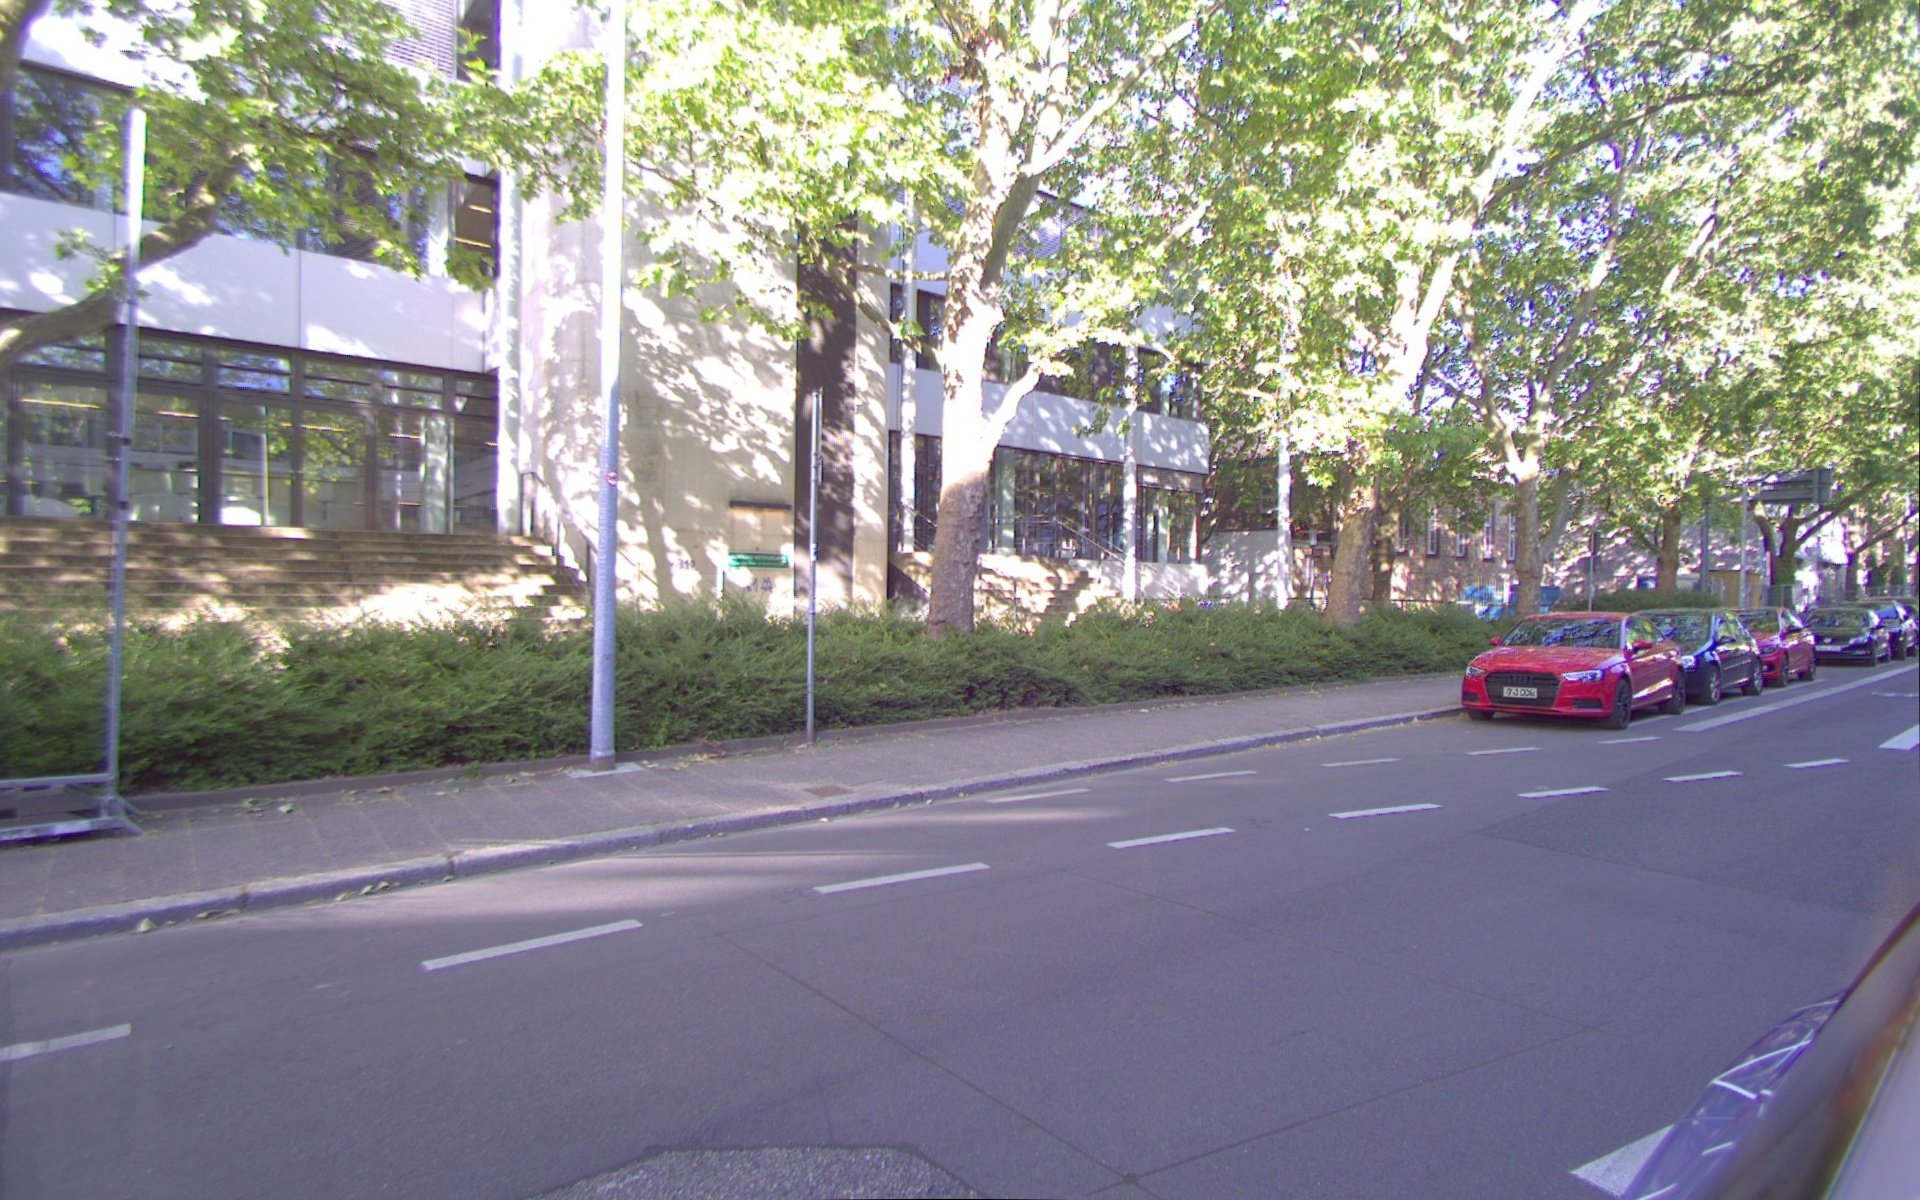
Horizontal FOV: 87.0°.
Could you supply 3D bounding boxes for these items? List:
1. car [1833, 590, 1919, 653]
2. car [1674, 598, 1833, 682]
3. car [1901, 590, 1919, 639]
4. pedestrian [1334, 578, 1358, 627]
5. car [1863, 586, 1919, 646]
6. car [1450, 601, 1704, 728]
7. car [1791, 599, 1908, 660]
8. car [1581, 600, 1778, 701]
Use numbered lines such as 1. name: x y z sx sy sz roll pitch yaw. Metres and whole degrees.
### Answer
1. car: 26.716 0.591 29.183 4.101 1.674 1.753 0 -1 -41
2. car: 15.704 0.725 19.972 3.841 1.486 1.753 0 -1 -41
3. car: 36.197 0.523 37.270 4.370 1.750 1.753 0 -1 -41
4. pedestrian: 13.321 0.086 34.896 0.649 1.691 0.525 0 0 -39
5. car: 30.973 0.492 32.974 4.370 1.843 1.753 0 -1 -41
6. car: 8.276 0.745 13.451 3.930 1.427 1.753 0 -1 -41
7. car: 22.949 0.721 26.070 3.841 1.451 1.753 0 -1 -41
8. car: 11.852 0.744 16.596 3.841 1.451 1.753 0 -1 -41
